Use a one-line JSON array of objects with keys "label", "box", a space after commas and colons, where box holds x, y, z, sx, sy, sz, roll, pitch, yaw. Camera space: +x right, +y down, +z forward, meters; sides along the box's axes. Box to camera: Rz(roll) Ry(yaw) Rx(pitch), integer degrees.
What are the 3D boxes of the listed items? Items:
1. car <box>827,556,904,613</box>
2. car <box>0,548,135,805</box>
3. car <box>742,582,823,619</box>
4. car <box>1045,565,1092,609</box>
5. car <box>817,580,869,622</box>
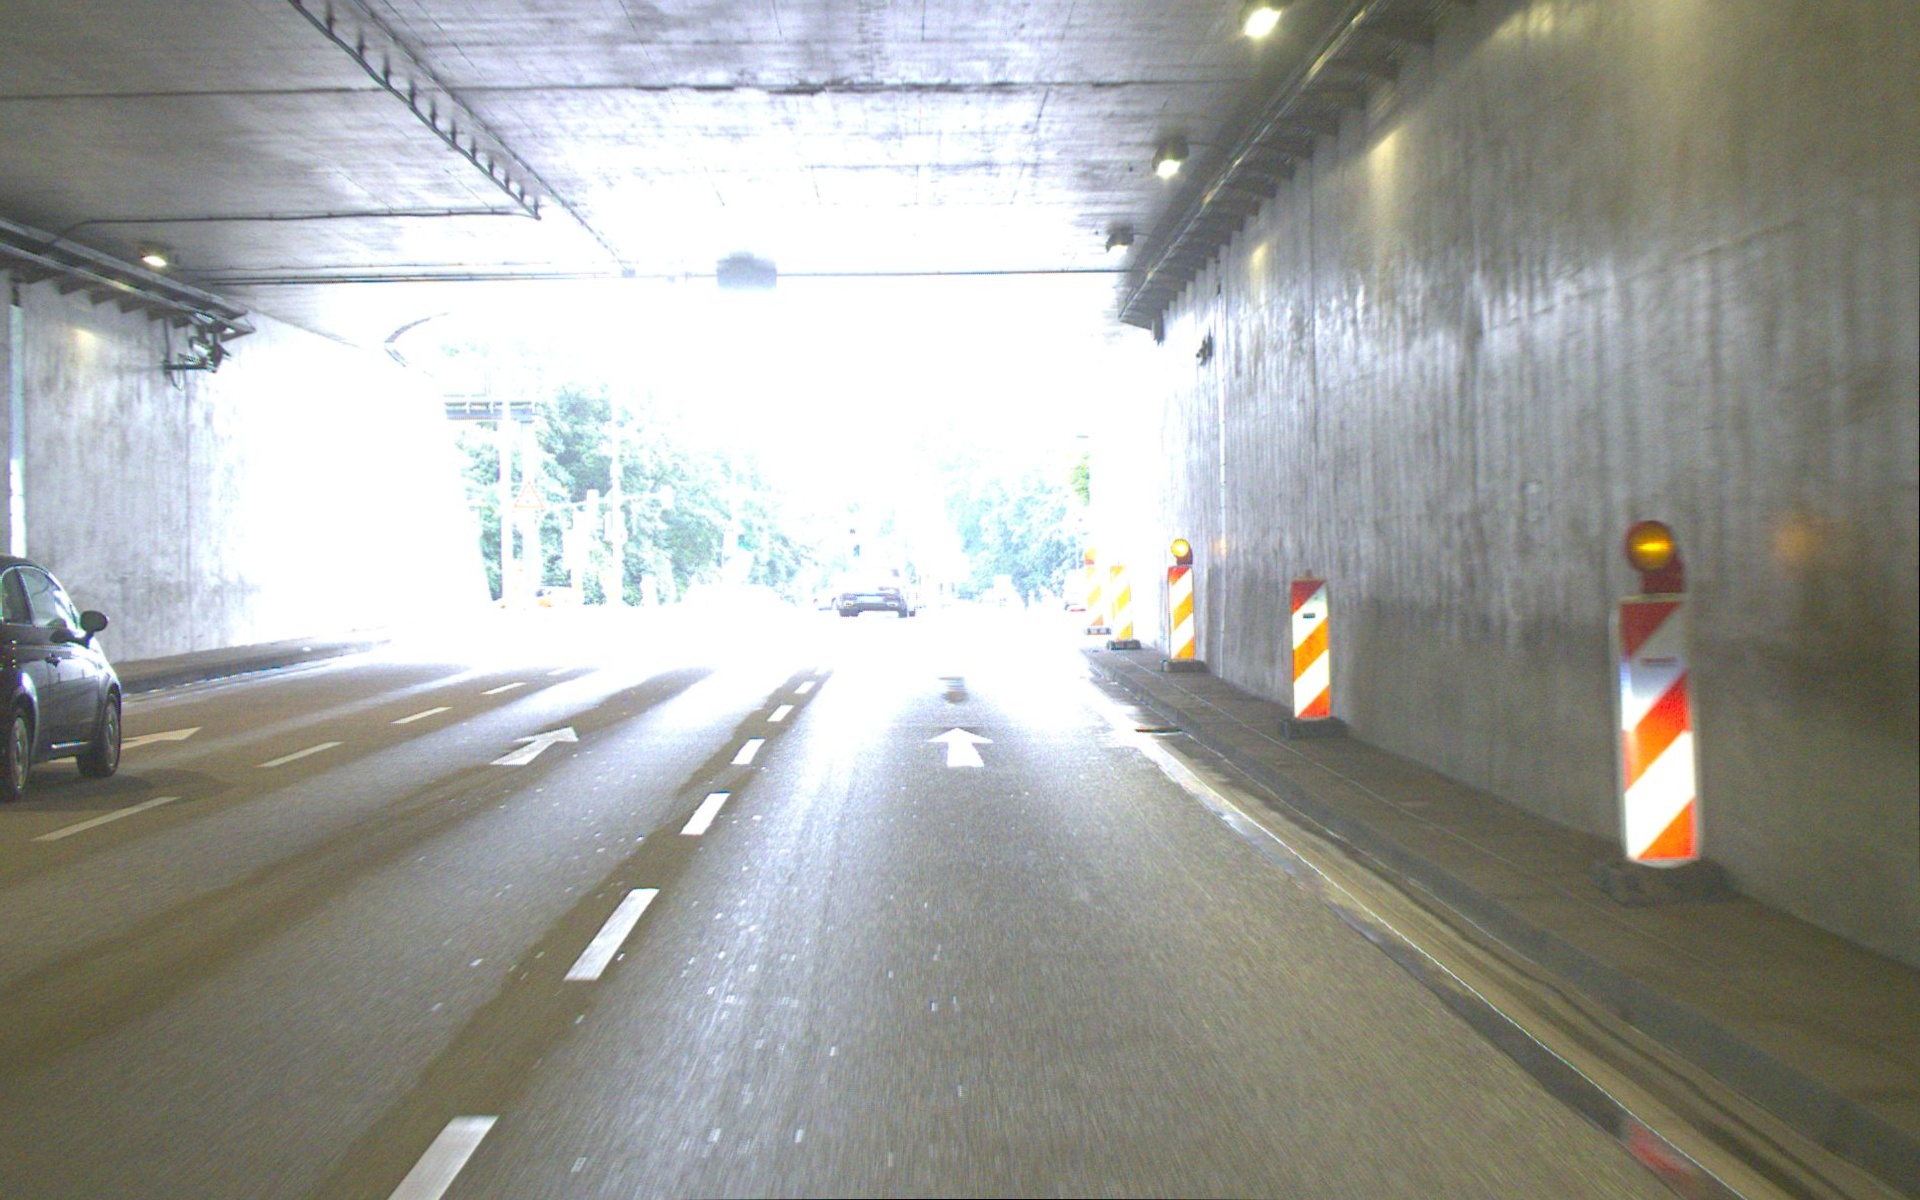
[{"label": "car", "box": [-2.577, -0.407, 93.100, 1.993, 1.443, 4.315, 1, -1, -2]}, {"label": "car", "box": [-6.290, 0.407, 21.276, 1.612, 1.449, 3.573, 0, 1, -2]}, {"label": "car", "box": [-7.896, 0.015, 152.831, 1.891, 1.509, 4.000, 0, 1, -31]}, {"label": "car", "box": [5.148, -0.617, 163.098, 1.993, 2.007, 4.000, 2, 0, -1]}, {"label": "car", "box": [-4.930, 0.024, 145.175, 1.891, 1.678, 4.000, 1, 1, 2]}]
